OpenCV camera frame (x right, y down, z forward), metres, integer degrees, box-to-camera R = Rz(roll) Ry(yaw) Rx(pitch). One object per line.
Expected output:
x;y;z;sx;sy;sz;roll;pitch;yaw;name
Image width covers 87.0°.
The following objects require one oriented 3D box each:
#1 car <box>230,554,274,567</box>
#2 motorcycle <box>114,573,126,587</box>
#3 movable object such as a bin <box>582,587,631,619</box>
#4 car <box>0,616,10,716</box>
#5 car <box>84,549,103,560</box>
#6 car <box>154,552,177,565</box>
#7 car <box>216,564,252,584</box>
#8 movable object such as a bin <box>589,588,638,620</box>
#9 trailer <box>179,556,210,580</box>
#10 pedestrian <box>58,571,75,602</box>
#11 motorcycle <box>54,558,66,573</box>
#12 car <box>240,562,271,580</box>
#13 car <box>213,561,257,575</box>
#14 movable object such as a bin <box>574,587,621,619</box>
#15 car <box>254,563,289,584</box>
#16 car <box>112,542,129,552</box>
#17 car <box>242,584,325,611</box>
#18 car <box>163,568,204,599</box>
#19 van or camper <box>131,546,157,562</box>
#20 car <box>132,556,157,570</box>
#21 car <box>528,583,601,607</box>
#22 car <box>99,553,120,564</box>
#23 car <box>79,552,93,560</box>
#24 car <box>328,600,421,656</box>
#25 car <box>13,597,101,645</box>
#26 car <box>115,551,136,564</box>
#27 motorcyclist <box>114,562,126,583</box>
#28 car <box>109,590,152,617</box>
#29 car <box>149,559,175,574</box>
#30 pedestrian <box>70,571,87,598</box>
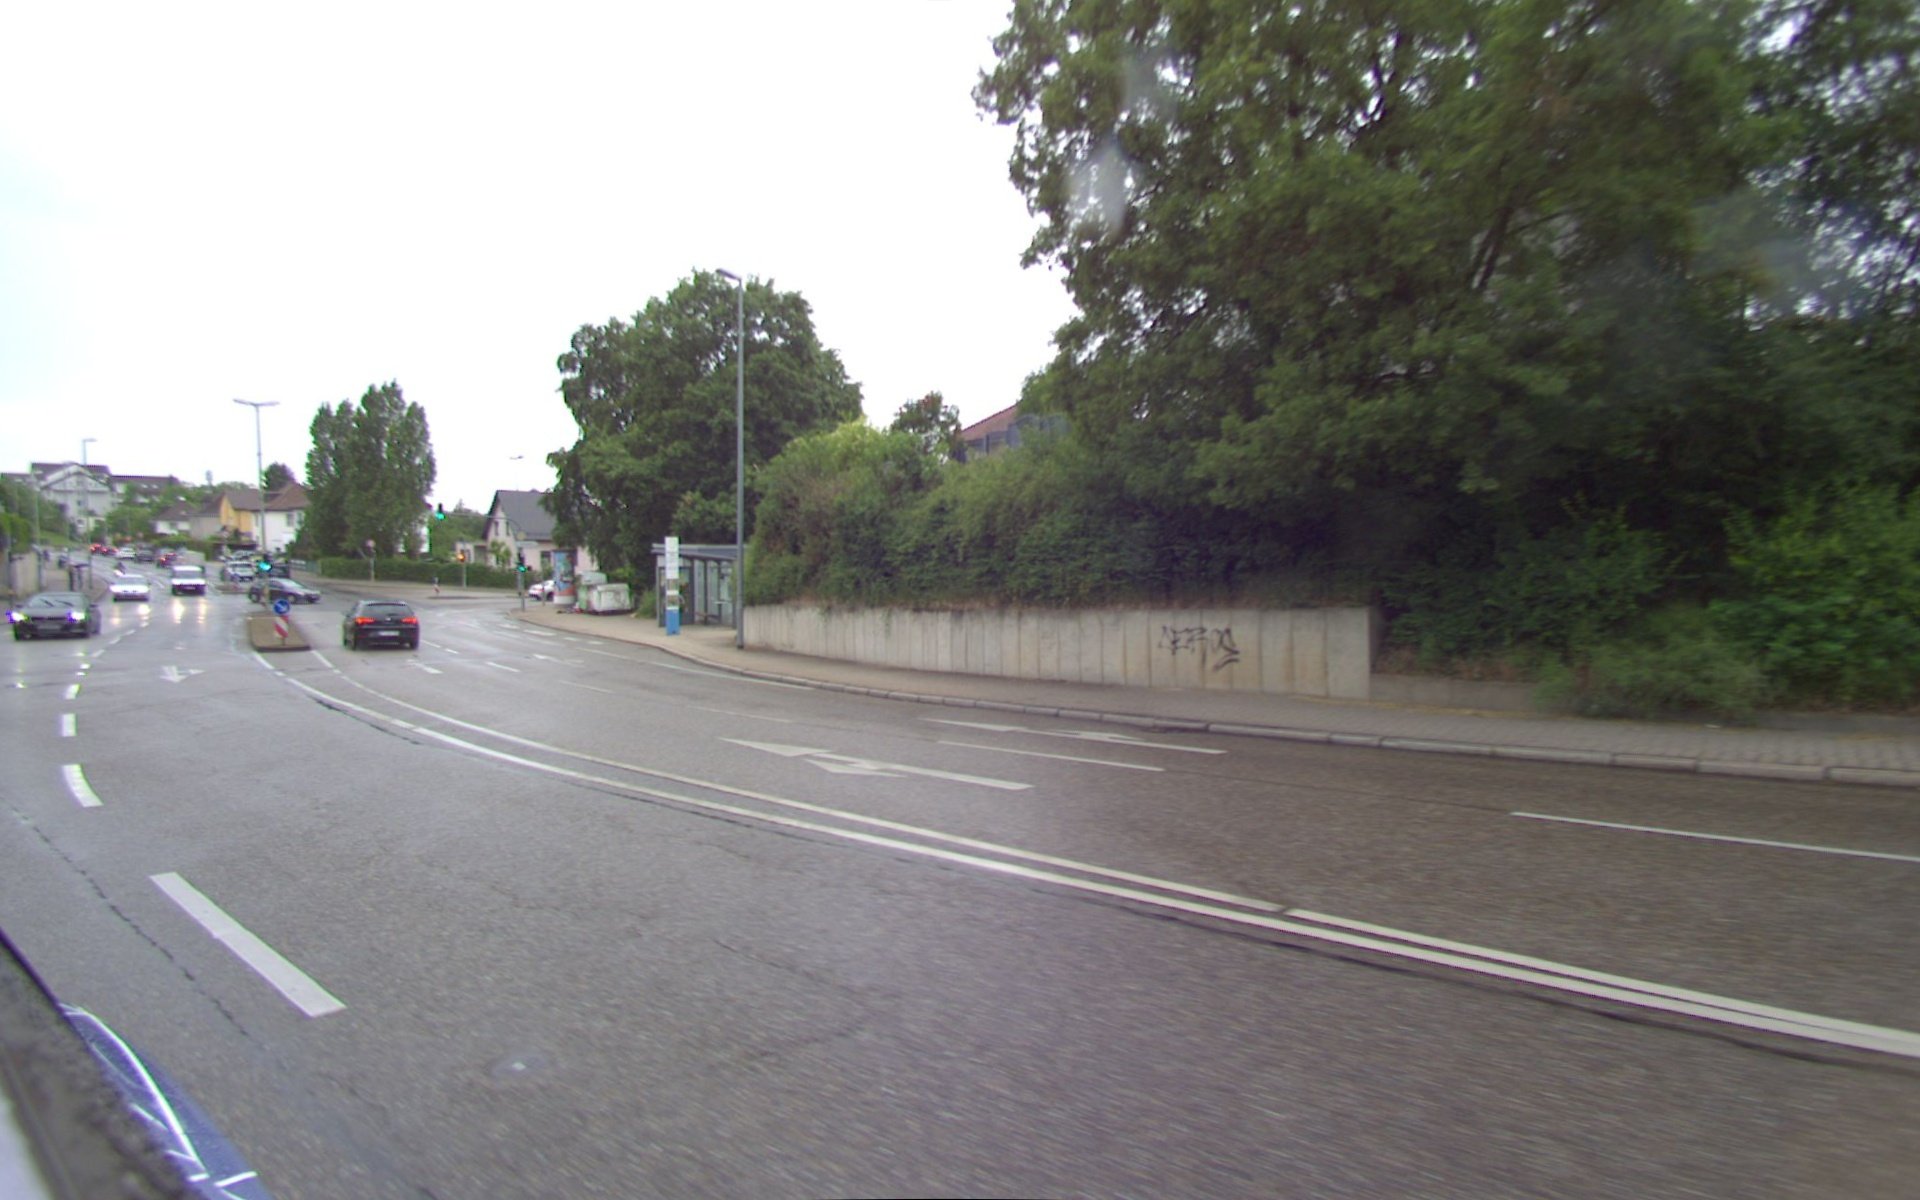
-86.307;-4.773;123.351;1.886;1.430;4.053;4;6;45;car
-68.107;-1.633;82.039;0.752;0.959;2.447;-1;4;-40;motorcycle
-18.030;0.152;51.543;2.030;1.580;1.586;0;1;-34;movable object such as a bin
-13.551;0.933;12.729;1.811;1.408;4.010;0;0;-36;car
-125.616;-6.593;146.733;4.002;1.513;1.693;4;4;44;car
-105.057;-5.489;133.855;4.000;1.525;1.785;4;3;42;car
-63.583;-2.292;88.587;4.468;1.669;1.803;4;3;44;car
-17.217;0.181;50.291;2.030;1.526;1.347;0;1;-34;movable object such as a bin
-75.301;-3.164;99.521;4.037;2.195;1.875;3;3;44;trailer
-59.219;-0.887;67.090;0.787;2.028;0.736;-1;4;-39;pedestrian
-88.310;-3.372;99.254;2.480;1.334;0.684;4;3;44;motorcycle
-67.702;-2.808;97.285;1.784;1.580;4.146;-1;5;-45;car
-90.985;-4.051;127.082;1.838;1.495;4.060;3;-1;38;car
-18.937;0.136;52.865;2.030;1.580;1.586;0;1;-34;movable object such as a bin
-62.937;-2.449;92.481;1.784;1.681;4.602;-1;5;-45;car
-153.345;-9.660;184.840;1.971;1.585;4.003;-1;5;-45;car
-42.057;-0.175;62.966;4.007;1.498;1.839;2;3;5;car
-53.239;-1.153;69.368;1.927;1.884;4.753;0;3;-41;car
-116.493;-6.598;144.463;5.137;2.028;2.160;5;5;44;van or camper
-98.005;-4.454;121.574;1.971;1.585;4.003;-1;4;-45;car
-29.018;-0.398;74.307;1.915;1.539;4.585;4;4;44;car
-119.806;-5.832;142.610;4.002;1.475;1.832;4;4;44;car
-168.852;-8.472;195.511;1.811;1.541;4.003;-1;4;-45;car
-17.648;0.776;30.420;1.867;1.498;4.242;0;1;-38;car
-30.083;0.673;33.825;1.812;1.468;4.009;-1;0;-37;car
-108.795;-5.560;131.875;1.814;1.567;4.776;-1;4;-43;car
-68.005;-2.238;81.918;0.750;1.614;0.810;-1;4;-40;motorcyclist
-50.742;0.187;61.884;1.814;1.492;4.005;-1;2;-42;car
-86.899;-3.675;110.185;1.819;1.563;4.388;0;3;-44;car
-60.011;-1.070;68.910;0.783;1.793;1.014;1;3;-39;pedestrian
